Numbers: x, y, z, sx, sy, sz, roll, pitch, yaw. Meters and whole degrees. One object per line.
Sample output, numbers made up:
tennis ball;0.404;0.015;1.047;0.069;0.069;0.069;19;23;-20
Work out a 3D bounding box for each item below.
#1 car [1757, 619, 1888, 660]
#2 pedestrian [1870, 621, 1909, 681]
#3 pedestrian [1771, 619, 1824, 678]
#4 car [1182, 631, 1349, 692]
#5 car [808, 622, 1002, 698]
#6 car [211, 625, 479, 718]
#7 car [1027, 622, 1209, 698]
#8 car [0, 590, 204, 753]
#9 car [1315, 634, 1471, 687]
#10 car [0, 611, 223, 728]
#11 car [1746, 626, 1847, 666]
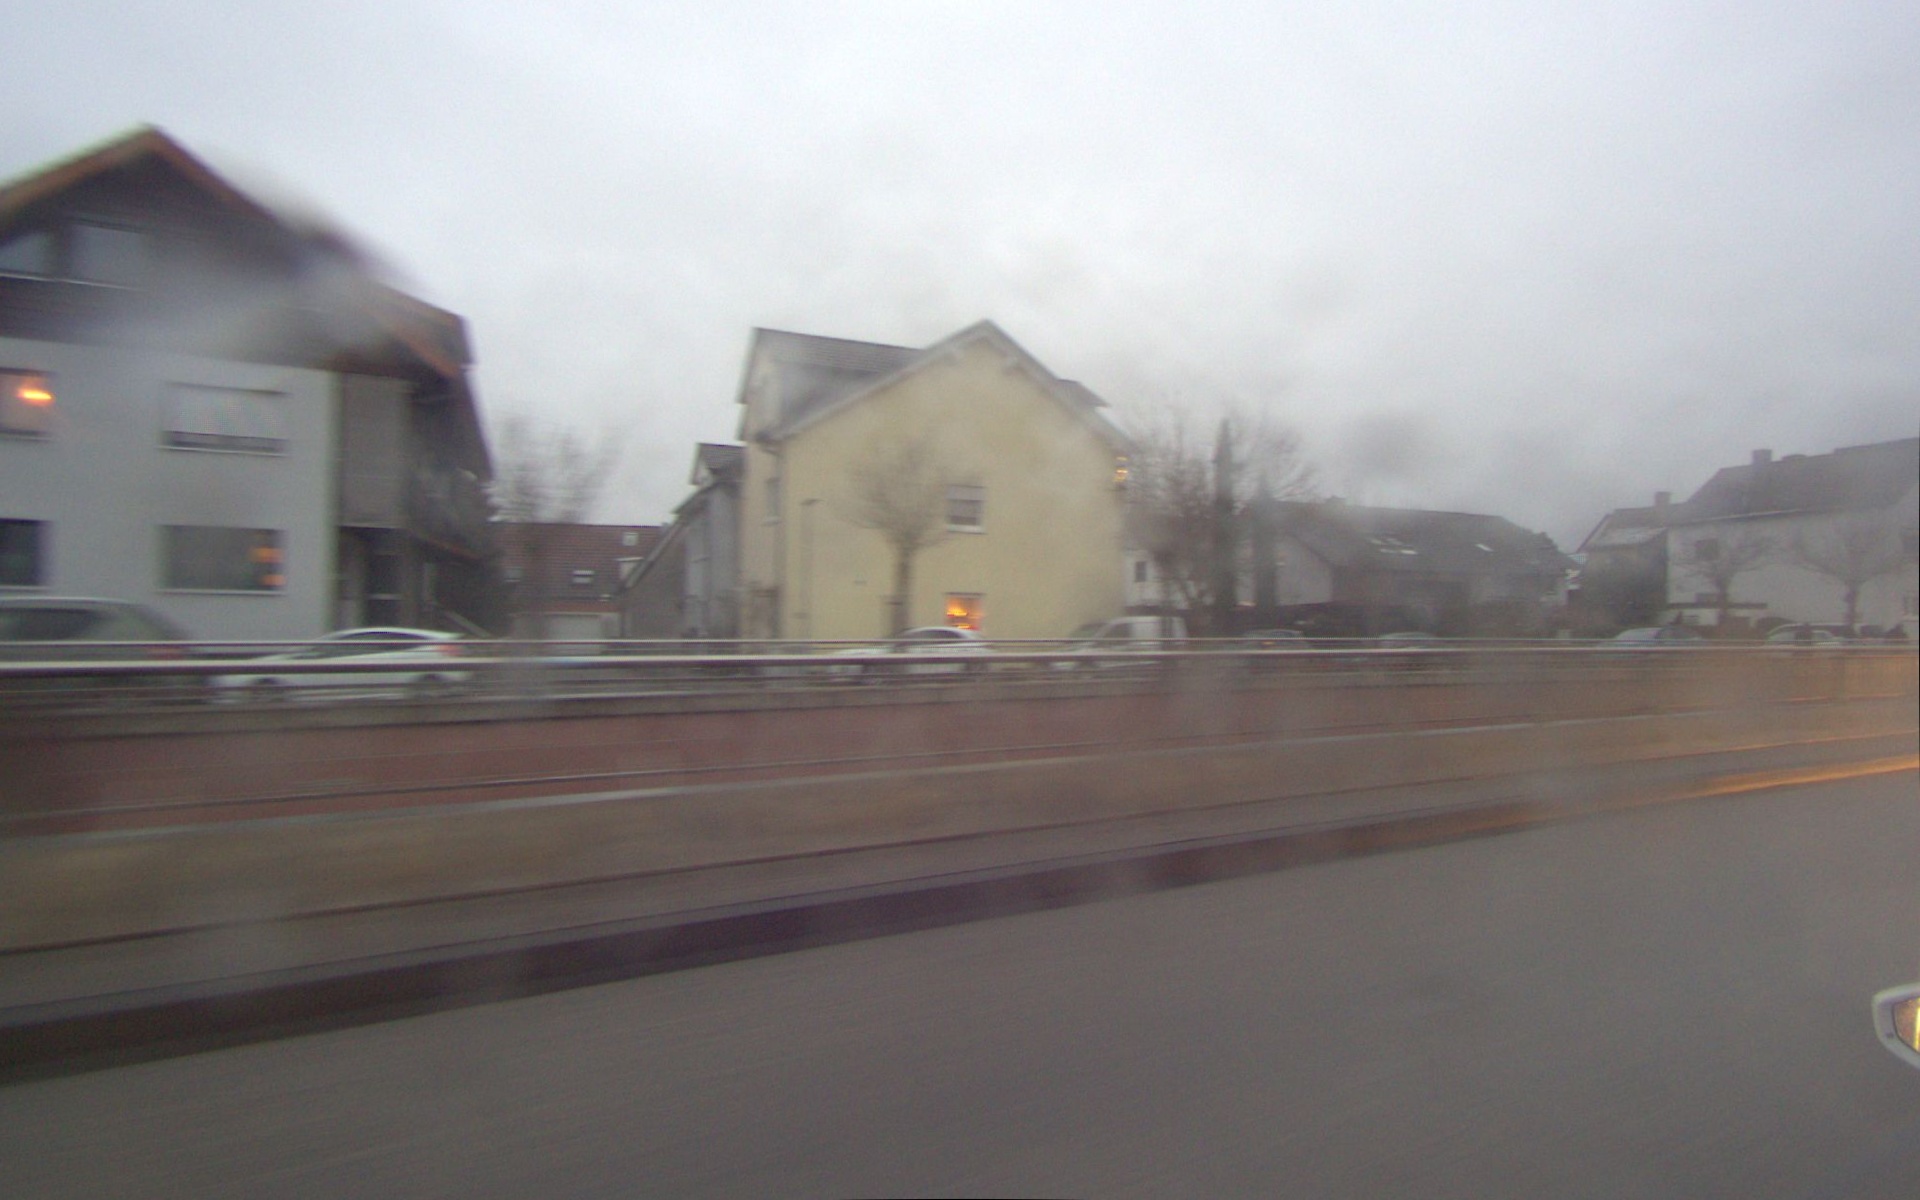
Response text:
car;38.192;1.776;44.601;1.837;1.716;3.981;0;-3;-22
pedestrian;27.188;1.491;29.373;0.533;1.720;0.663;0;0;-18
pedestrian;26.446;1.513;31.719;0.958;1.808;0.927;0;0;-18
car;8.707;1.720;28.635;4.440;1.593;1.869;0;-3;-25
car;-1.294;1.372;23.651;4.170;1.619;1.868;0;-3;-27
car;-11.084;1.258;18.434;3.982;1.543;1.762;2;-2;-28
car;4.147;1.531;26.312;4.443;1.802;1.868;0;-3;-27
car;-11.442;0.815;11.857;3.818;1.827;1.790;2;-2;-32
car;13.208;1.817;30.615;4.440;1.452;1.869;0;-3;-25
car;-14.528;1.069;16.237;3.950;1.704;1.850;1;1;-28
car;31.838;1.746;38.252;3.407;1.446;1.480;1;-1;-21
